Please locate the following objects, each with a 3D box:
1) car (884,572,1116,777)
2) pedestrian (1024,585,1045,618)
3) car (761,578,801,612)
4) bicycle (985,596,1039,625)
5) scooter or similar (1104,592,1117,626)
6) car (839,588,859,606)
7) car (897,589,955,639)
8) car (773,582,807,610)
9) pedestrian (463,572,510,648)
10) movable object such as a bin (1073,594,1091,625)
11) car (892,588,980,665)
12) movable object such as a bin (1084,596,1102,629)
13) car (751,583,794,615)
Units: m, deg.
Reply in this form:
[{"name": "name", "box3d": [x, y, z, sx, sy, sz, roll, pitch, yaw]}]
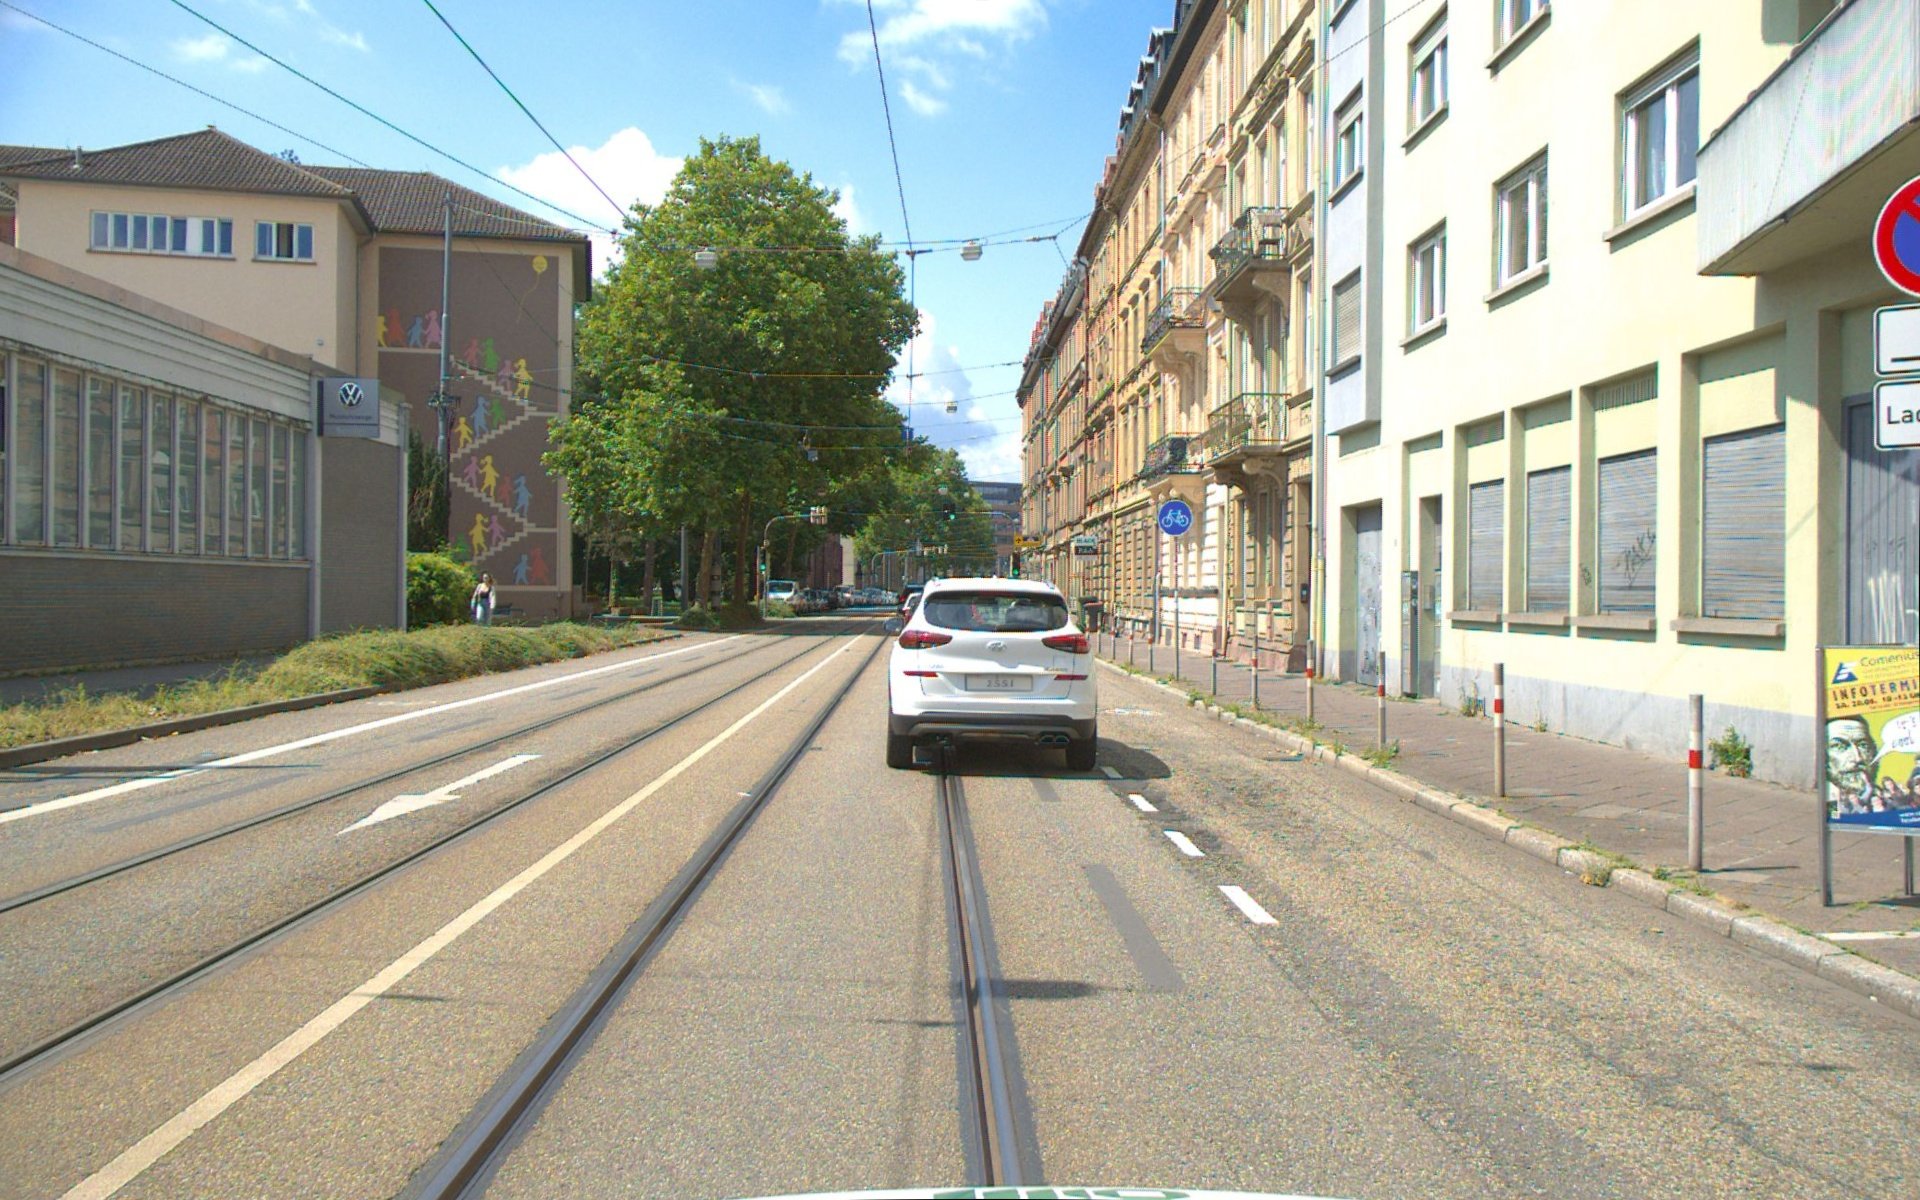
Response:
[{"name": "car", "box3d": [0.236, 0.604, 15.660, 1.815, 1.662, 4.178, 1, 0, -4]}, {"name": "pedestrian", "box3d": [3.588, 0.069, 79.474, 0.919, 1.600, 1.049, 1, 0, -1]}, {"name": "car", "box3d": [-10.402, -0.288, 96.329, 1.910, 1.928, 4.564, 1, 0, -1]}, {"name": "bicycle", "box3d": [2.172, 0.451, 69.031, 2.222, 1.164, 0.584, 1, 0, -4]}, {"name": "scooter or similar", "box3d": [5.278, 0.325, 57.861, 0.387, 1.184, 0.486, 1, 0, -1]}, {"name": "car", "box3d": [-10.769, -0.323, 160.376, 1.911, 1.660, 3.997, 1, 0, -4]}, {"name": "car", "box3d": [-1.096, 0.420, 53.002, 1.777, 1.551, 3.955, 0, 0, -1]}, {"name": "car", "box3d": [-10.615, -0.264, 103.402, 1.911, 1.660, 3.997, 1, 0, -4]}, {"name": "pedestrian", "box3d": [-12.041, 0.252, 42.080, 0.862, 1.898, 1.081, -1, 0, -1]}, {"name": "movable object such as a bin", "box3d": [4.597, 0.351, 62.129, 0.600, 1.163, 0.638, 1, 0, -1]}, {"name": "car", "box3d": [-0.500, 0.527, 35.798, 1.777, 1.551, 4.085, 0, 0, 0]}, {"name": "movable object such as a bin", "box3d": [4.886, 0.454, 60.706, 0.600, 1.163, 0.638, 1, 0, -1]}, {"name": "car", "box3d": [-10.184, -0.083, 89.945, 1.910, 1.660, 4.574, 1, 0, -1]}]
